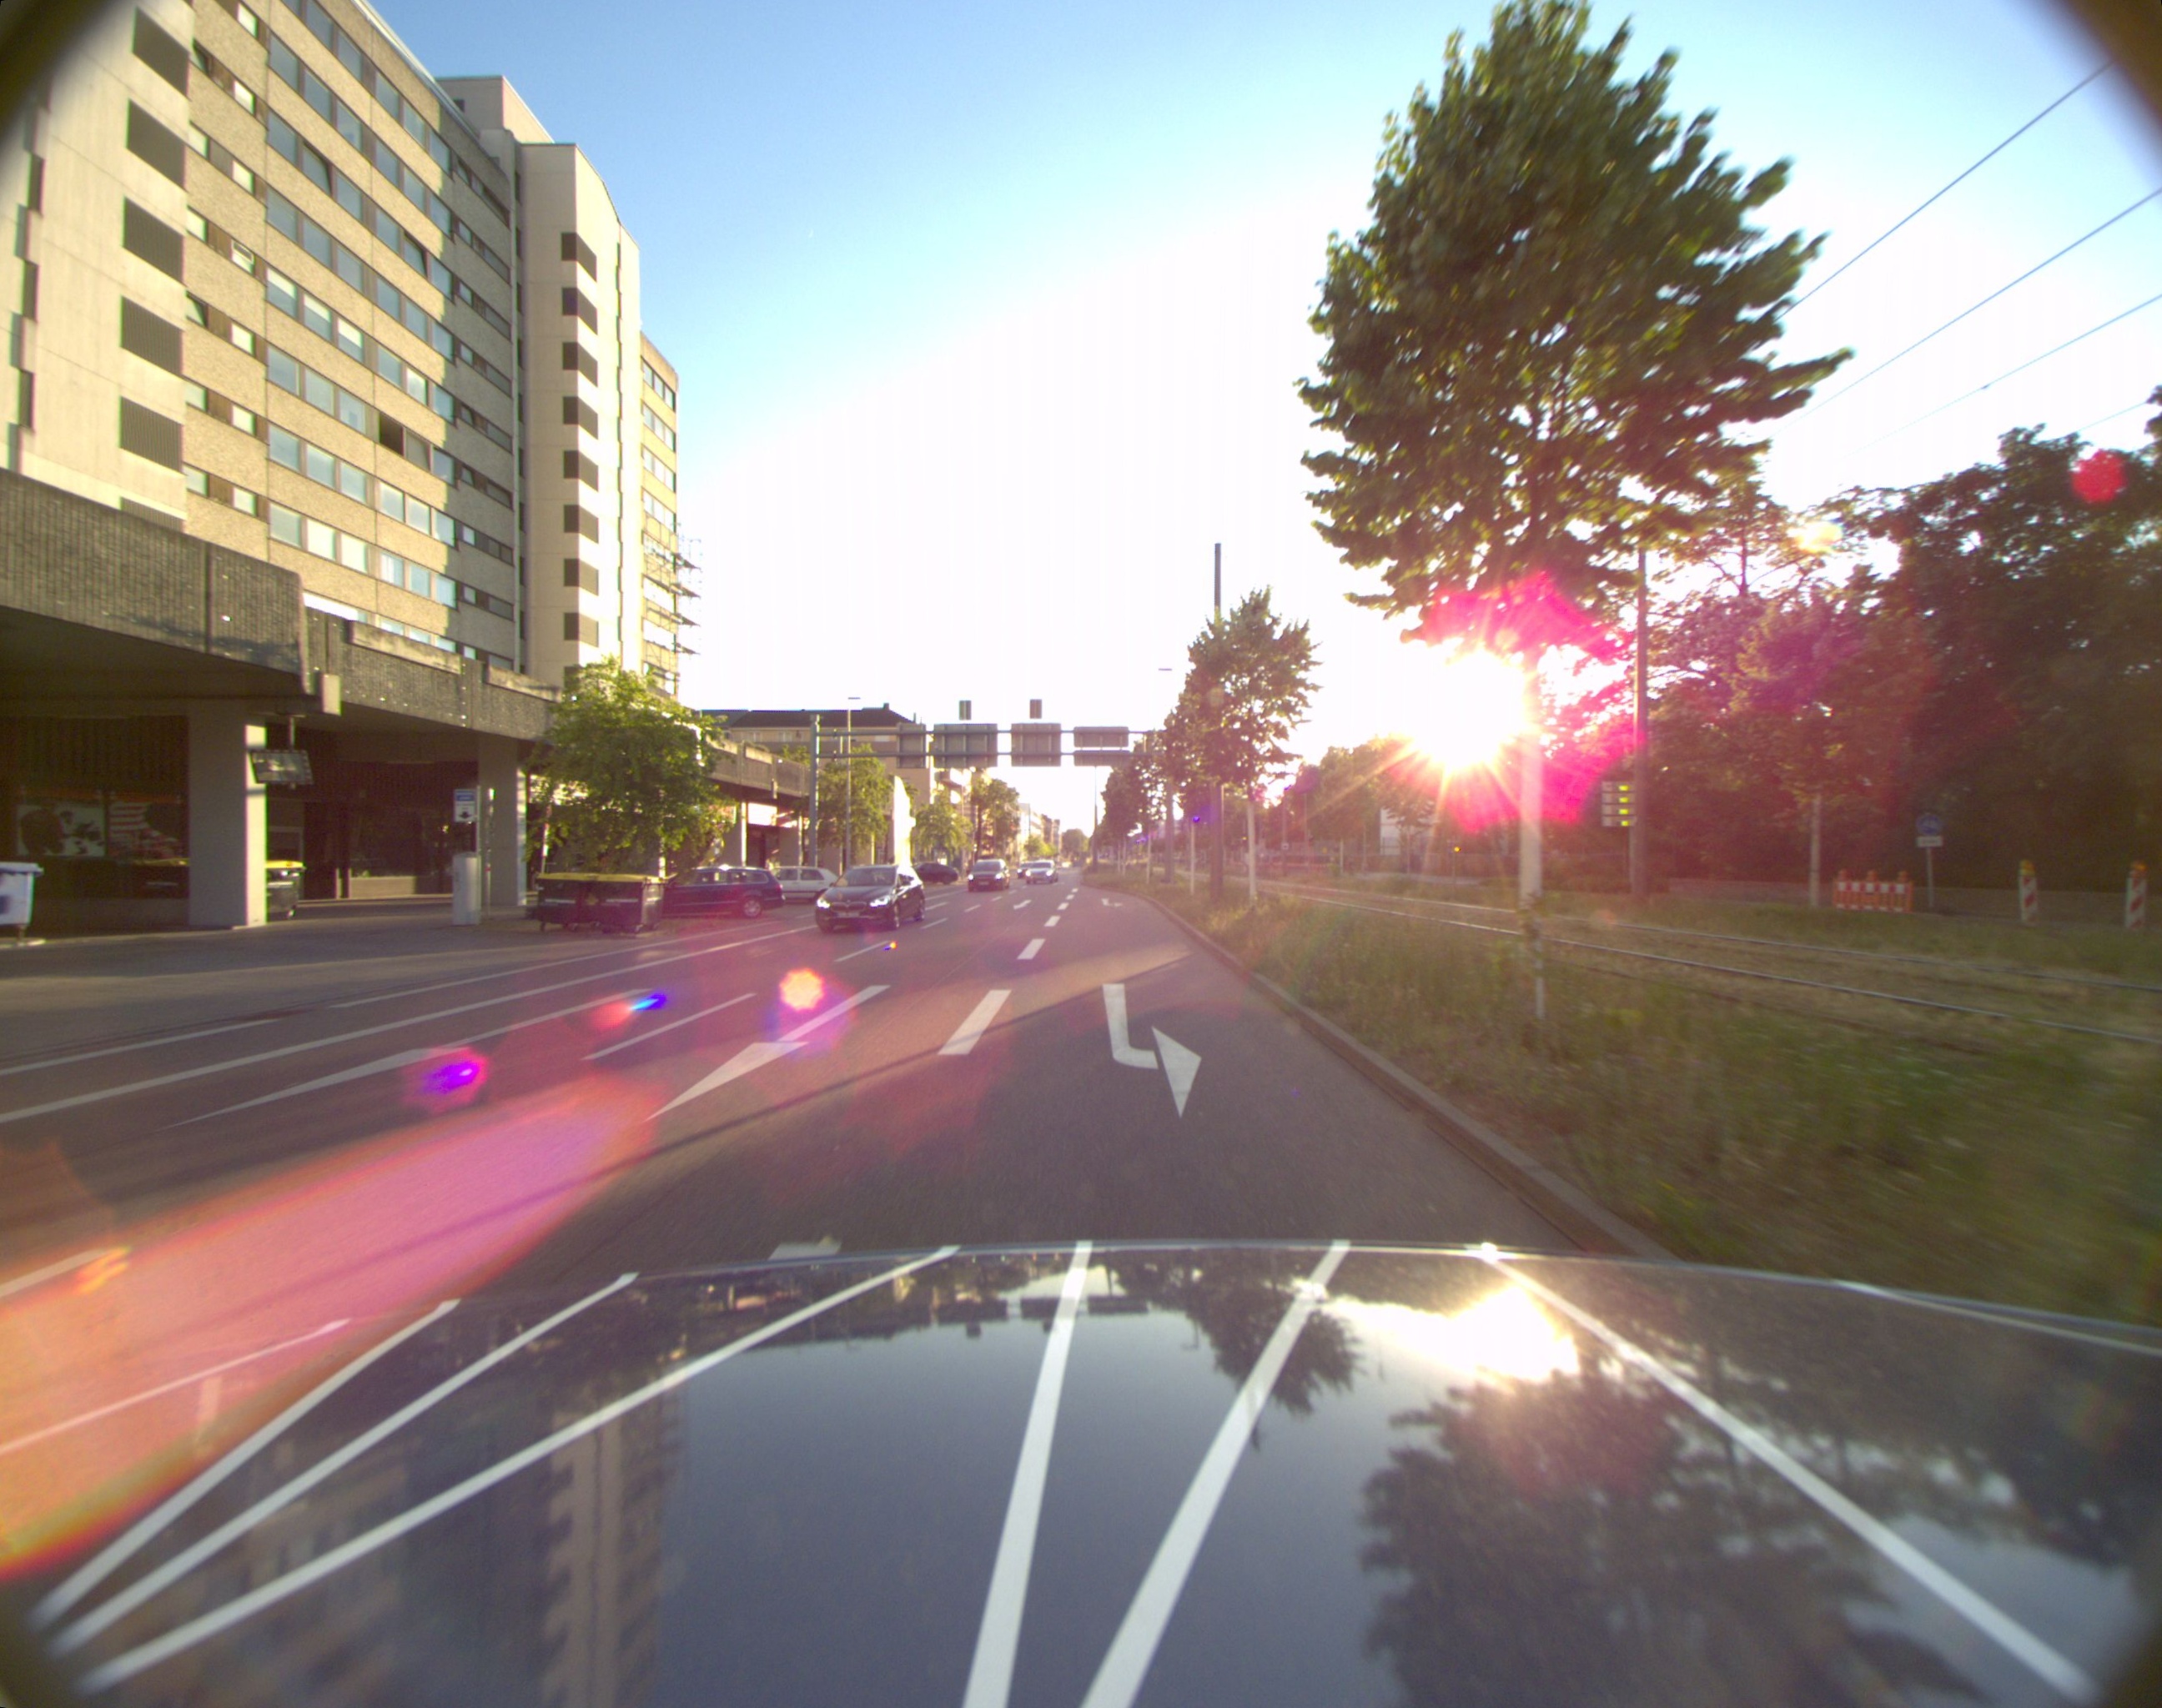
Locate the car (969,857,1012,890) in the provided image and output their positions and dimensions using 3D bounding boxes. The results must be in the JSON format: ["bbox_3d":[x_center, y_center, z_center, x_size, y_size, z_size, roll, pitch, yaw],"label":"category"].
[{"bbox_3d":[-4.735,0.988,40.295,1.828,1.589,4.366,-2,0,-2],"label":"car"}]

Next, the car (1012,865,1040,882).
[{"bbox_3d":[-4.858,1.701,67.170,1.915,1.387,4.277,-2,0,3],"label":"car"}]

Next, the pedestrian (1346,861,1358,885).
[{"bbox_3d":[18.692,1.290,52.439,0.670,1.597,0.679,-2,-4,15],"label":"pedestrian"}]

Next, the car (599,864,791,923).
[{"bbox_3d":[-11.186,1.112,22.183,4.679,1.499,1.934,2,0,-38],"label":"car"}]

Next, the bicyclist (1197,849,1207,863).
[{"bbox_3d":[14.802,0.215,92.783,0.942,1.611,0.718,-2,0,32],"label":"bicyclist"}]

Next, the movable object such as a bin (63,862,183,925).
[{"bbox_3d":[-20.732,0.827,16.481,1.184,1.305,1.124,0,0,0],"label":"movable object such as a bin"}]

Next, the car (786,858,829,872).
[{"bbox_3d":[-30.754,1.218,85.566,4.226,1.432,1.655,0,3,-4],"label":"car"}]

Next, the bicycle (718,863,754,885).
[{"bbox_3d":[-17.331,1.009,38.206,1.576,1.042,0.433,2,0,0],"label":"bicycle"}]

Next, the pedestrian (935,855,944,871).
[{"bbox_3d":[-16.305,1.009,87.460,0.840,1.849,0.544,0,2,1],"label":"pedestrian"}]

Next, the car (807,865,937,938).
[{"bbox_3d":[-5.084,1.076,19.192,1.825,1.510,4.792,-2,0,1],"label":"car"}]

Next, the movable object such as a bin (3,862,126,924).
[{"bbox_3d":[-21.942,0.822,16.434,1.184,1.305,1.088,0,0,0],"label":"movable object such as a bin"}]

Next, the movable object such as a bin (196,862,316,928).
[{"bbox_3d":[-17.982,0.870,16.607,1.184,1.315,1.266,3,0,0],"label":"movable object such as a bin"}]

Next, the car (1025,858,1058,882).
[{"bbox_3d":[-2.571,1.012,49.825,1.832,1.455,4.303,-2,0,0],"label":"car"}]

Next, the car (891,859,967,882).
[{"bbox_3d":[-10.072,1.102,50.596,4.617,1.444,1.808,2,0,-40],"label":"car"}]

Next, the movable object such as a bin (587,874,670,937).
[{"bbox_3d":[-10.184,1.143,17.162,1.088,1.294,1.360,2,0,-5],"label":"movable object such as a bin"}]

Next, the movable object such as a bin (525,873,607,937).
[{"bbox_3d":[-11.547,1.128,17.081,1.016,1.339,1.160,2,0,-4],"label":"movable object such as a bin"}]

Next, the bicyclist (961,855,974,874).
[{"bbox_3d":[-10.023,0.938,66.911,0.821,1.682,0.959,1,0,-27],"label":"bicyclist"}]

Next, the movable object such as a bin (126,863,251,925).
[{"bbox_3d":[-19.356,0.841,16.521,1.184,1.291,1.304,0,0,0],"label":"movable object such as a bin"}]

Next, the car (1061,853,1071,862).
[{"bbox_3d":[-3.121,0.716,158.209,1.727,1.909,4.293,-2,0,-3],"label":"car"}]

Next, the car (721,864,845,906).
[{"bbox_3d":[-11.189,1.147,28.651,3.999,1.408,1.746,2,0,-37],"label":"car"}]

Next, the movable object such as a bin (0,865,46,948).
[{"bbox_3d":[-18.089,0.845,12.223,1.107,1.322,1.283,2,0,0],"label":"movable object such as a bin"}]

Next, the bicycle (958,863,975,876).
[{"bbox_3d":[-10.102,1.359,67.060,0.821,1.166,2.143,1,0,-27],"label":"bicycle"}]

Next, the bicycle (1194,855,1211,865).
[{"bbox_3d":[14.822,0.711,92.787,1.893,1.126,0.718,-2,0,32],"label":"bicycle"}]
